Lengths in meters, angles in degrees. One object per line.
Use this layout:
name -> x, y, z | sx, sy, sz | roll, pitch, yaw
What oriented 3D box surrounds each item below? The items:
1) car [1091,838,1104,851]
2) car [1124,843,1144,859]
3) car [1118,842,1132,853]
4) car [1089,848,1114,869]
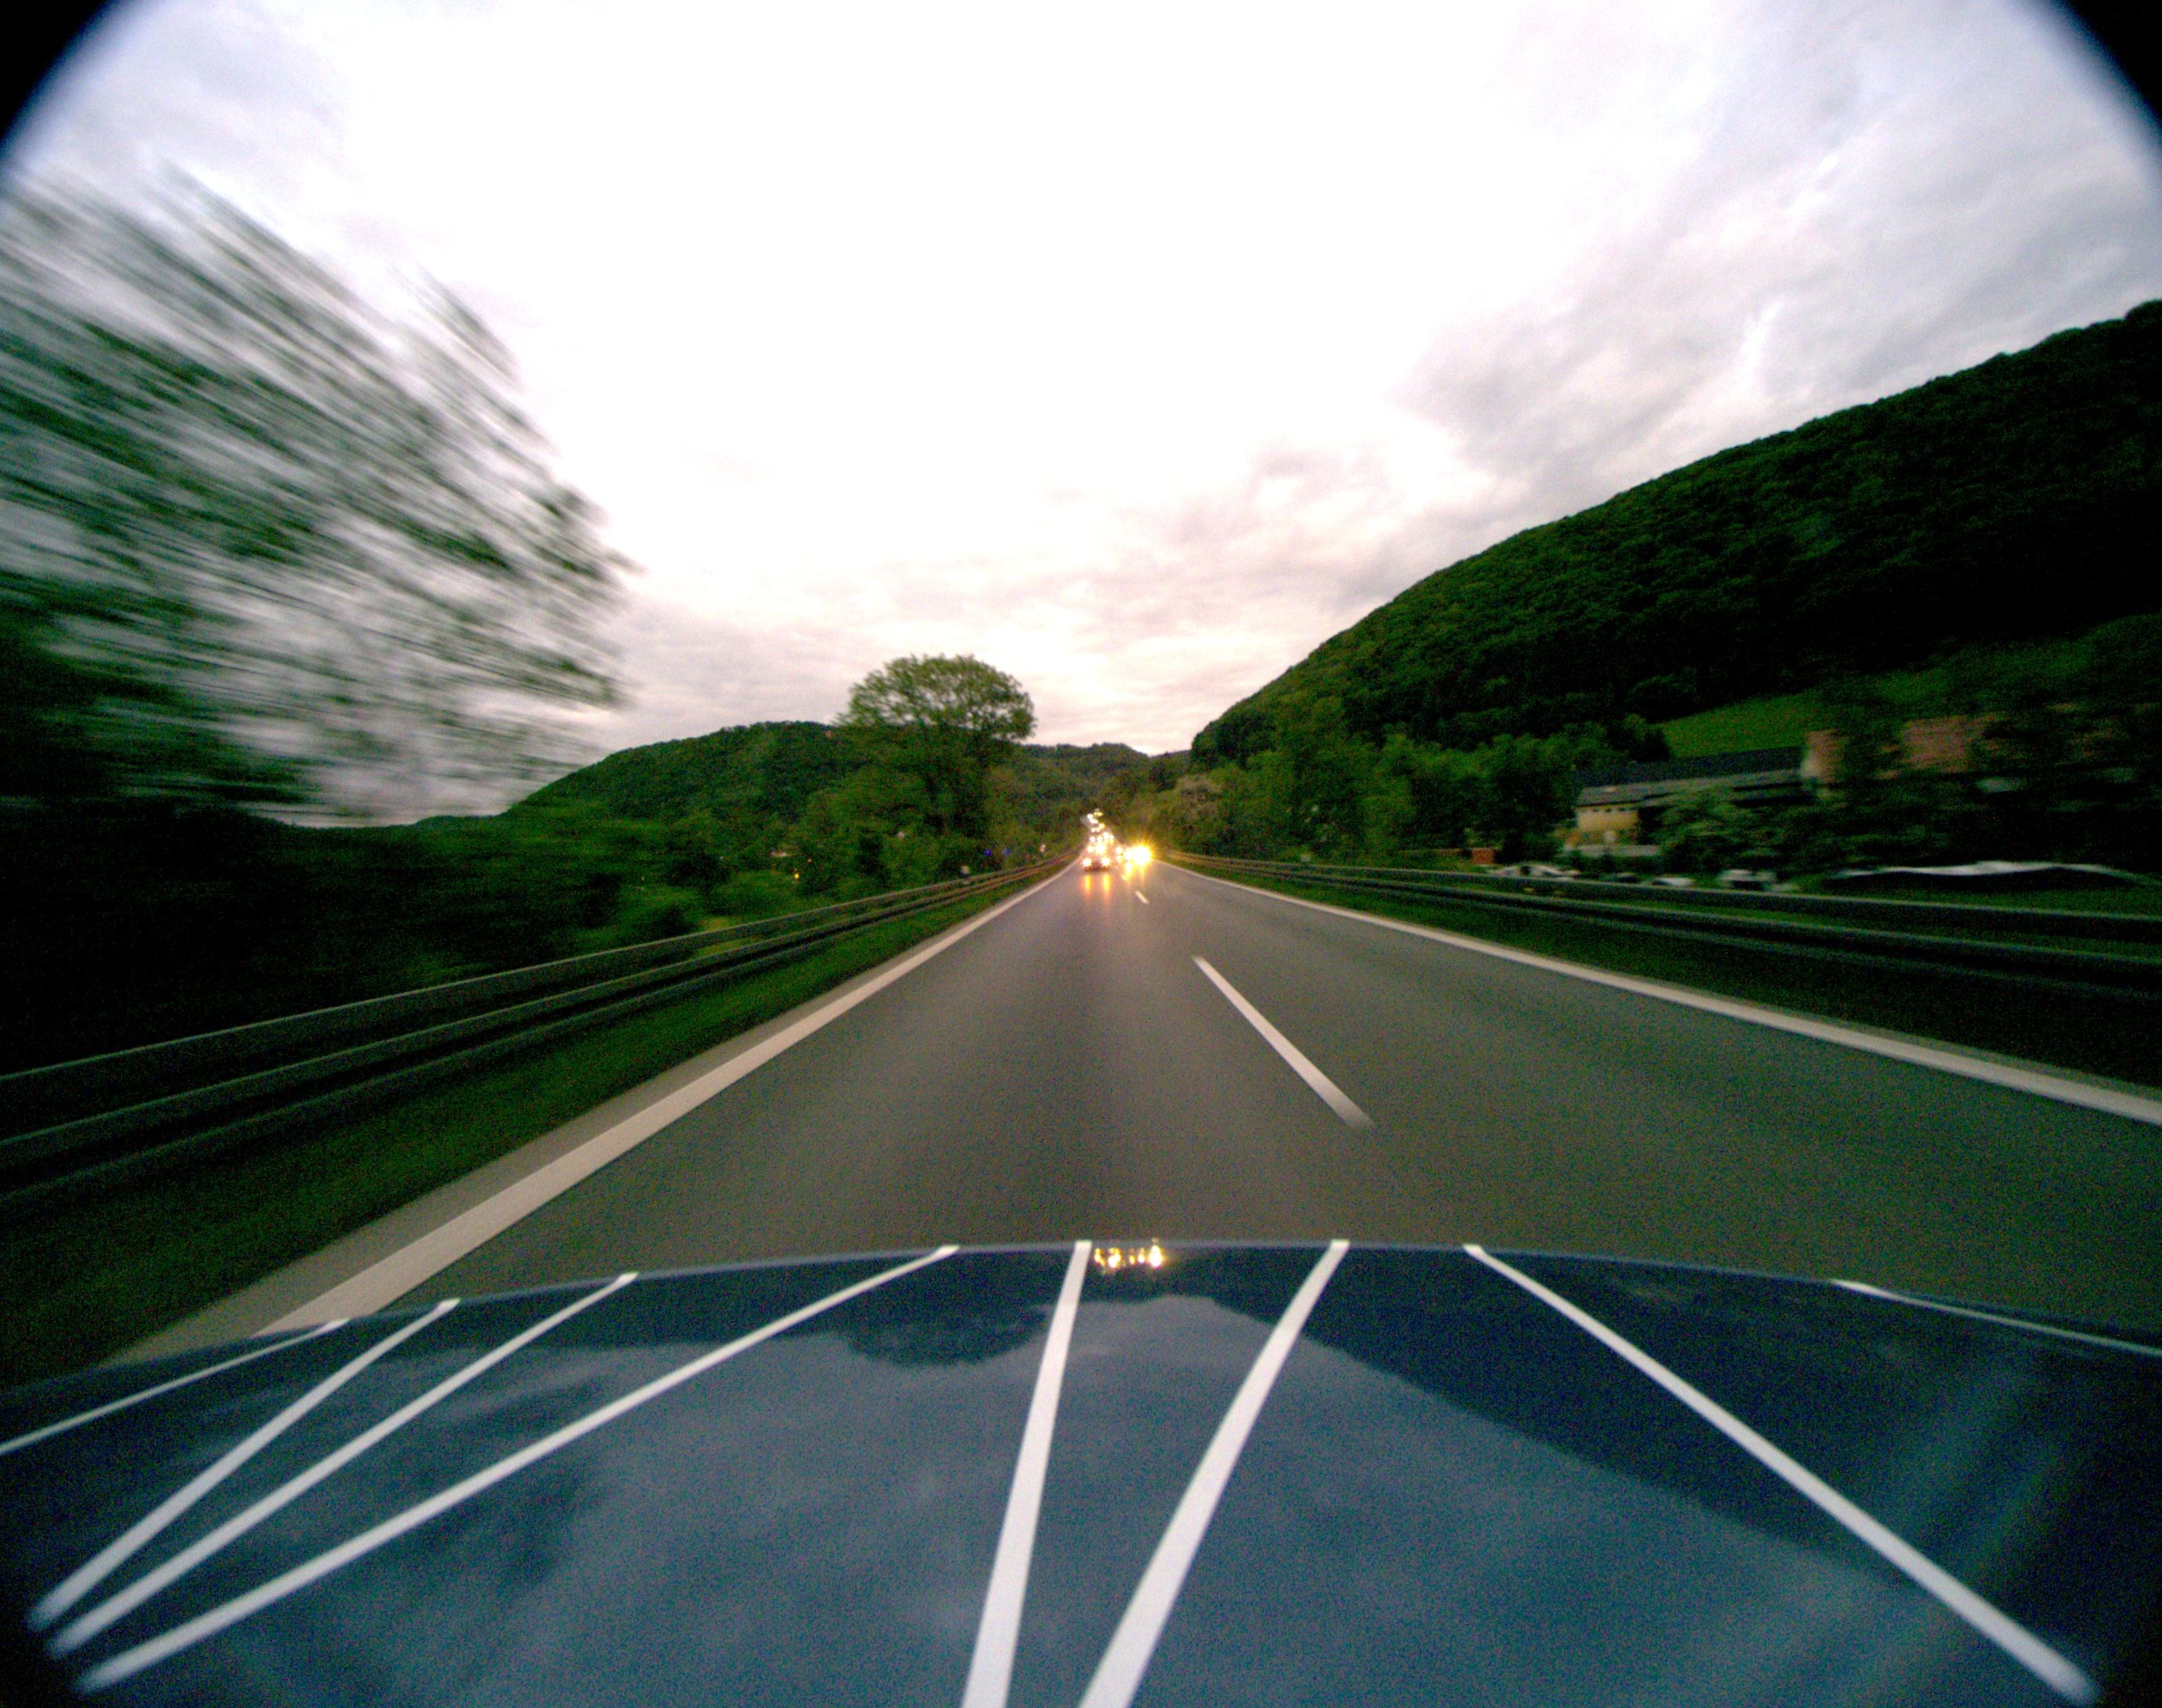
car -> 2.531, -1.428, 115.435 | 1.738, 1.641, 3.669 | -3, -1, 0
car -> 5.250, -0.303, 74.958 | 1.690, 1.459, 3.768 | -3, -1, 1
car -> 6.227, -0.867, 108.012 | 1.690, 1.425, 3.669 | -3, -1, 1
car -> 1.506, 0.333, 55.987 | 1.690, 1.443, 3.669 | -3, -1, 1
